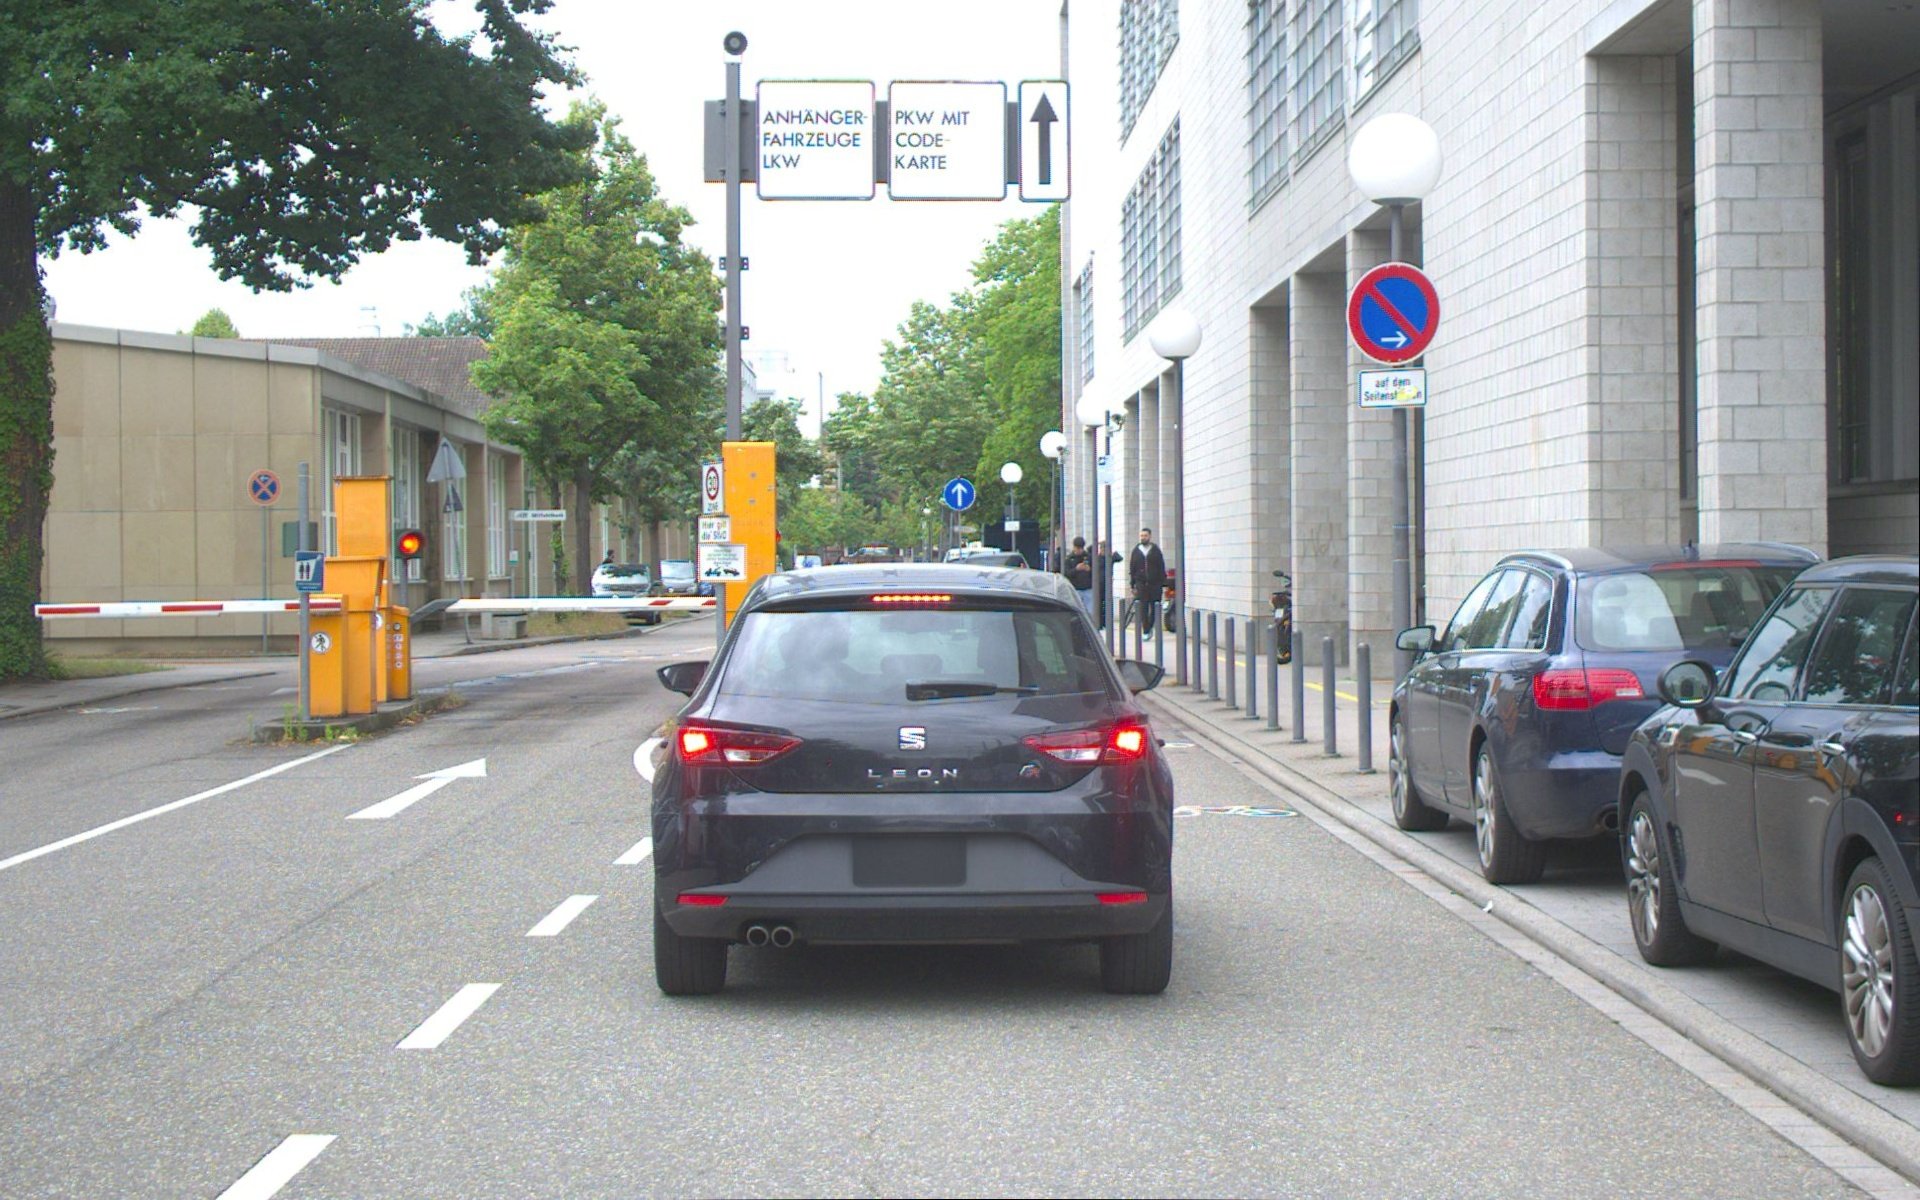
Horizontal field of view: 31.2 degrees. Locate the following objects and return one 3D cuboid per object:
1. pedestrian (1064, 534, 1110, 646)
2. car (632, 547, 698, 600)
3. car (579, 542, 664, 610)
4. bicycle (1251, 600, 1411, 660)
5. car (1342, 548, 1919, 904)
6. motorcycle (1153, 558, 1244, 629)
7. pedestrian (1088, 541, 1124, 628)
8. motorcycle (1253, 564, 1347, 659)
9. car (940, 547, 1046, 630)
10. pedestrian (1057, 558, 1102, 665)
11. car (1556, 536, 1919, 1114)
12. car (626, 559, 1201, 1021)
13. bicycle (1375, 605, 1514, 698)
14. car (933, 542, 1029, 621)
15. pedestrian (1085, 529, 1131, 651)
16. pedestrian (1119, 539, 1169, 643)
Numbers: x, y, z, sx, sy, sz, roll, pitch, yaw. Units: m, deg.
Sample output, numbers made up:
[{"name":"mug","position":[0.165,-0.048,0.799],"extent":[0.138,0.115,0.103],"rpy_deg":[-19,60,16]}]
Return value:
[{"name":"pedestrian","position":[1.938,-0.152,52.515],"extent":[0.696,1.708,0.489],"rpy_deg":[0,1,1]},{"name":"car","position":[-9.077,-0.826,105.895],"extent":[1.770,1.595,4.000],"rpy_deg":[0,1,-1]},{"name":"car","position":[-8.155,-0.601,83.110],"extent":[1.770,1.595,4.000],"rpy_deg":[0,1,-2]},{"name":"bicycle","position":[4.592,0.369,42.569],"extent":[1.896,0.696,0.493],"rpy_deg":[0,3,-4]},{"name":"car","position":[3.157,0.499,16.630],"extent":[1.993,1.447,4.923],"rpy_deg":[-1,0,-1]},{"name":"motorcycle","position":[4.337,-0.129,62.331],"extent":[0.760,1.144,2.660],"rpy_deg":[2,3,24]},{"name":"pedestrian","position":[2.855,-0.304,67.296],"extent":[0.696,1.708,0.489],"rpy_deg":[0,1,4]},{"name":"motorcycle","position":[4.535,0.138,45.759],"extent":[0.566,1.144,2.214],"rpy_deg":[2,3,24]},{"name":"car","position":[0.641,-0.231,71.174],"extent":[1.993,1.617,4.428],"rpy_deg":[-1,0,-2]},{"name":"pedestrian","position":[1.936,0.187,55.689],"extent":[0.690,1.693,0.588],"rpy_deg":[1,3,3]},{"name":"car","position":[3.261,0.526,10.793],"extent":[1.817,1.438,4.521],"rpy_deg":[-2,1,-2]},{"name":"car","position":[-0.196,0.566,12.741],"extent":[1.782,1.414,4.130],"rpy_deg":[0,1,-1]},{"name":"bicycle","position":[4.591,0.475,32.461],"extent":[0.463,0.749,2.291],"rpy_deg":[-4,0,29]},{"name":"car","position":[0.432,-0.436,75.700],"extent":[1.993,1.617,4.428],"rpy_deg":[-2,1,-1]},{"name":"pedestrian","position":[2.112,-0.147,49.057],"extent":[0.611,1.708,0.574],"rpy_deg":[-1,1,3]},{"name":"pedestrian","position":[3.045,-0.155,56.976],"extent":[0.727,1.693,0.588],"rpy_deg":[0,3,-6]}]
